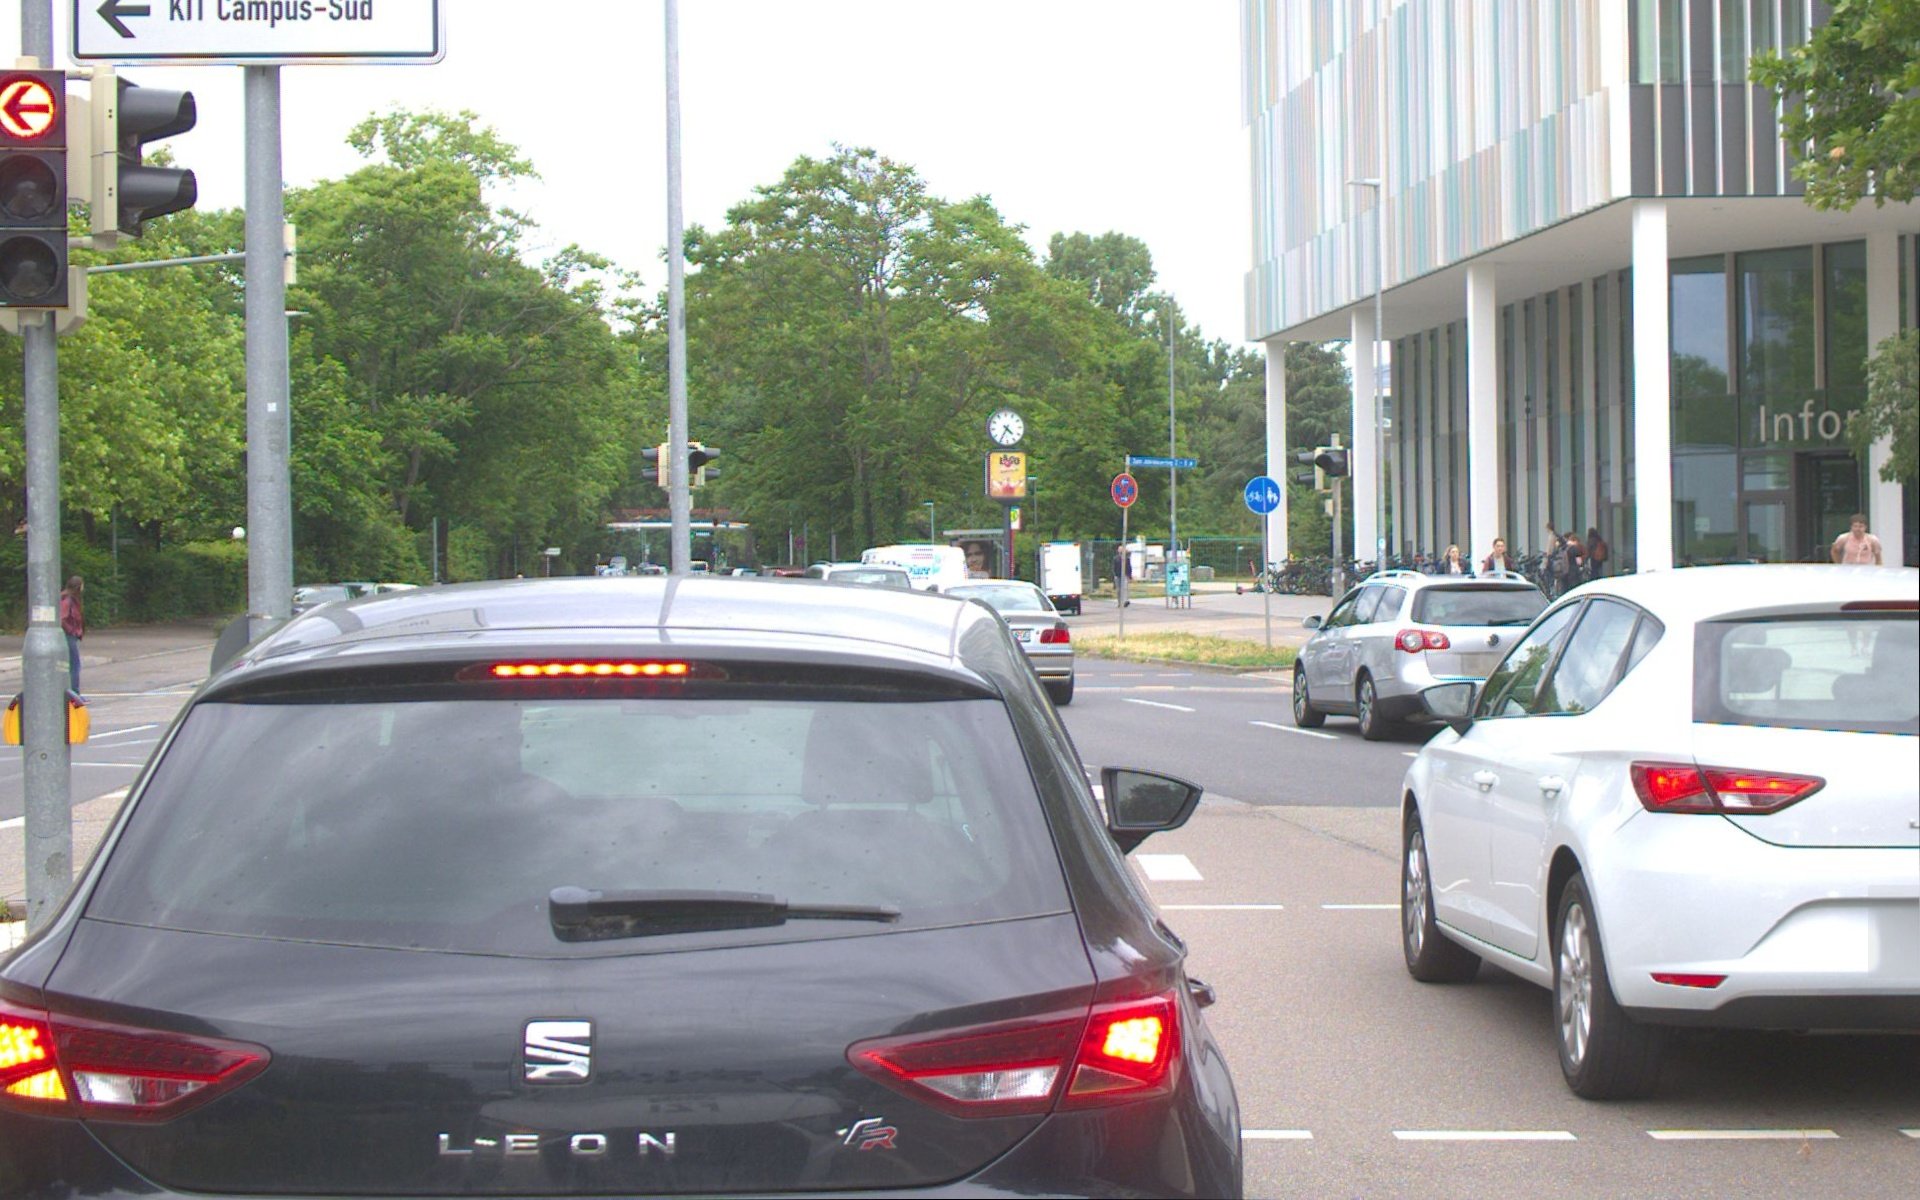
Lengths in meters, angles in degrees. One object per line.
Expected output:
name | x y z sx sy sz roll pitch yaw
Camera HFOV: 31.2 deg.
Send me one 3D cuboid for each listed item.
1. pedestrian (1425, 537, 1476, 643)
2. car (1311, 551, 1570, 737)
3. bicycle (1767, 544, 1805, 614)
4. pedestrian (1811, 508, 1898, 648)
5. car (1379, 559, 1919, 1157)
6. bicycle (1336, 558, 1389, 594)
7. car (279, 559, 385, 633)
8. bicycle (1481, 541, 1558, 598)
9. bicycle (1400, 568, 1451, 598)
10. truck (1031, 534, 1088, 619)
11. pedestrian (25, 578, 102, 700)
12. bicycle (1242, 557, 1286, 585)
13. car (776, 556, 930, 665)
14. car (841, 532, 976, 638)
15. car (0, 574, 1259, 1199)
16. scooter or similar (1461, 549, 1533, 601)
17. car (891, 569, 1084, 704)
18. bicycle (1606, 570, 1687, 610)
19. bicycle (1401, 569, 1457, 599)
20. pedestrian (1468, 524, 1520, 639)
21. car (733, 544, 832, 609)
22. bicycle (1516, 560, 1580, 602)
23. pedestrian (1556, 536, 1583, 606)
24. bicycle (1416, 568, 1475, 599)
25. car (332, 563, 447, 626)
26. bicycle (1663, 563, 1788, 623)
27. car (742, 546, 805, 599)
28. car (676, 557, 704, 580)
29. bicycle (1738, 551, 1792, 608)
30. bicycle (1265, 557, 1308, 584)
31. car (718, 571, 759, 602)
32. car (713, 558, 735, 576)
pedestrian | 7.645 -0.167 53.632 0.687 1.634 0.633 0 1 -1
car | 4.308 0.386 31.436 1.825 1.545 4.527 1 0 2
bicycle | 15.471 -0.396 64.395 0.526 1.248 1.664 -2 1 18
pedestrian | 11.483 -0.287 44.143 0.847 1.759 0.768 -2 1 -1
car | 2.454 0.613 10.406 1.781 1.458 3.871 0 1 -2
bicycle | 10.764 -0.641 91.862 1.387 0.938 0.487 -1 1 7
car | -15.727 -0.119 86.285 1.906 1.711 4.000 -2 1 -1
bicycle | 12.649 -0.689 77.733 1.772 1.207 0.570 -3 1 -34
bicycle | 11.767 -0.430 86.888 1.240 0.703 0.489 -2 1 8
truck | 2.731 -0.680 94.830 1.317 2.235 3.402 -2 1 -1
pedestrian | -11.975 0.516 45.941 0.874 1.581 0.543 -2 1 -7
bicycle | 9.635 -0.931 108.970 1.258 0.845 0.482 2 0 -22
car | -1.683 0.125 52.679 1.729 1.597 4.107 0 1 -11
car | -1.046 -0.325 67.354 1.966 1.965 4.345 1 1 -10
car | -0.489 0.700 5.757 1.753 1.427 3.769 1 1 2
scooter or similar | 12.235 -0.570 78.312 1.671 1.103 0.499 -3 1 -32
car | 0.260 0.380 39.515 1.722 1.409 4.246 0 1 -6
bicycle | 13.894 -0.203 69.609 1.479 0.746 0.566 -2 1 -4
bicycle | 11.729 -0.400 85.996 1.375 0.703 0.489 -2 1 8
pedestrian | 8.334 -0.293 53.692 0.687 1.775 0.677 -1 1 -1
car | -4.678 -0.633 90.087 1.948 1.618 3.750 0 2 -13
bicycle | 13.010 -0.416 76.029 1.438 0.855 0.365 -3 1 -27
pedestrian | 12.171 -0.581 68.656 0.472 1.357 0.445 -2 1 10
bicycle | 11.936 -0.408 84.527 1.374 0.703 0.416 -2 1 2
car | -15.891 -0.179 95.927 1.759 1.582 3.998 -2 1 12
bicycle | 12.515 -0.121 56.200 1.886 0.895 0.697 -3 1 -21
car | -6.226 -0.937 115.240 1.914 1.658 4.115 -2 1 -1
car | -18.703 -2.182 238.215 1.695 1.498 4.011 -2 1 -7
bicycle | 15.737 -0.407 67.188 0.620 1.042 1.703 -2 1 26
bicycle | 10.135 -0.915 106.864 1.234 0.820 0.482 1 0 -22
car | -10.678 -0.650 165.829 1.898 1.349 3.883 -2 1 -4
car | -16.606 -2.336 242.268 1.505 1.189 3.163 -2 1 -4
